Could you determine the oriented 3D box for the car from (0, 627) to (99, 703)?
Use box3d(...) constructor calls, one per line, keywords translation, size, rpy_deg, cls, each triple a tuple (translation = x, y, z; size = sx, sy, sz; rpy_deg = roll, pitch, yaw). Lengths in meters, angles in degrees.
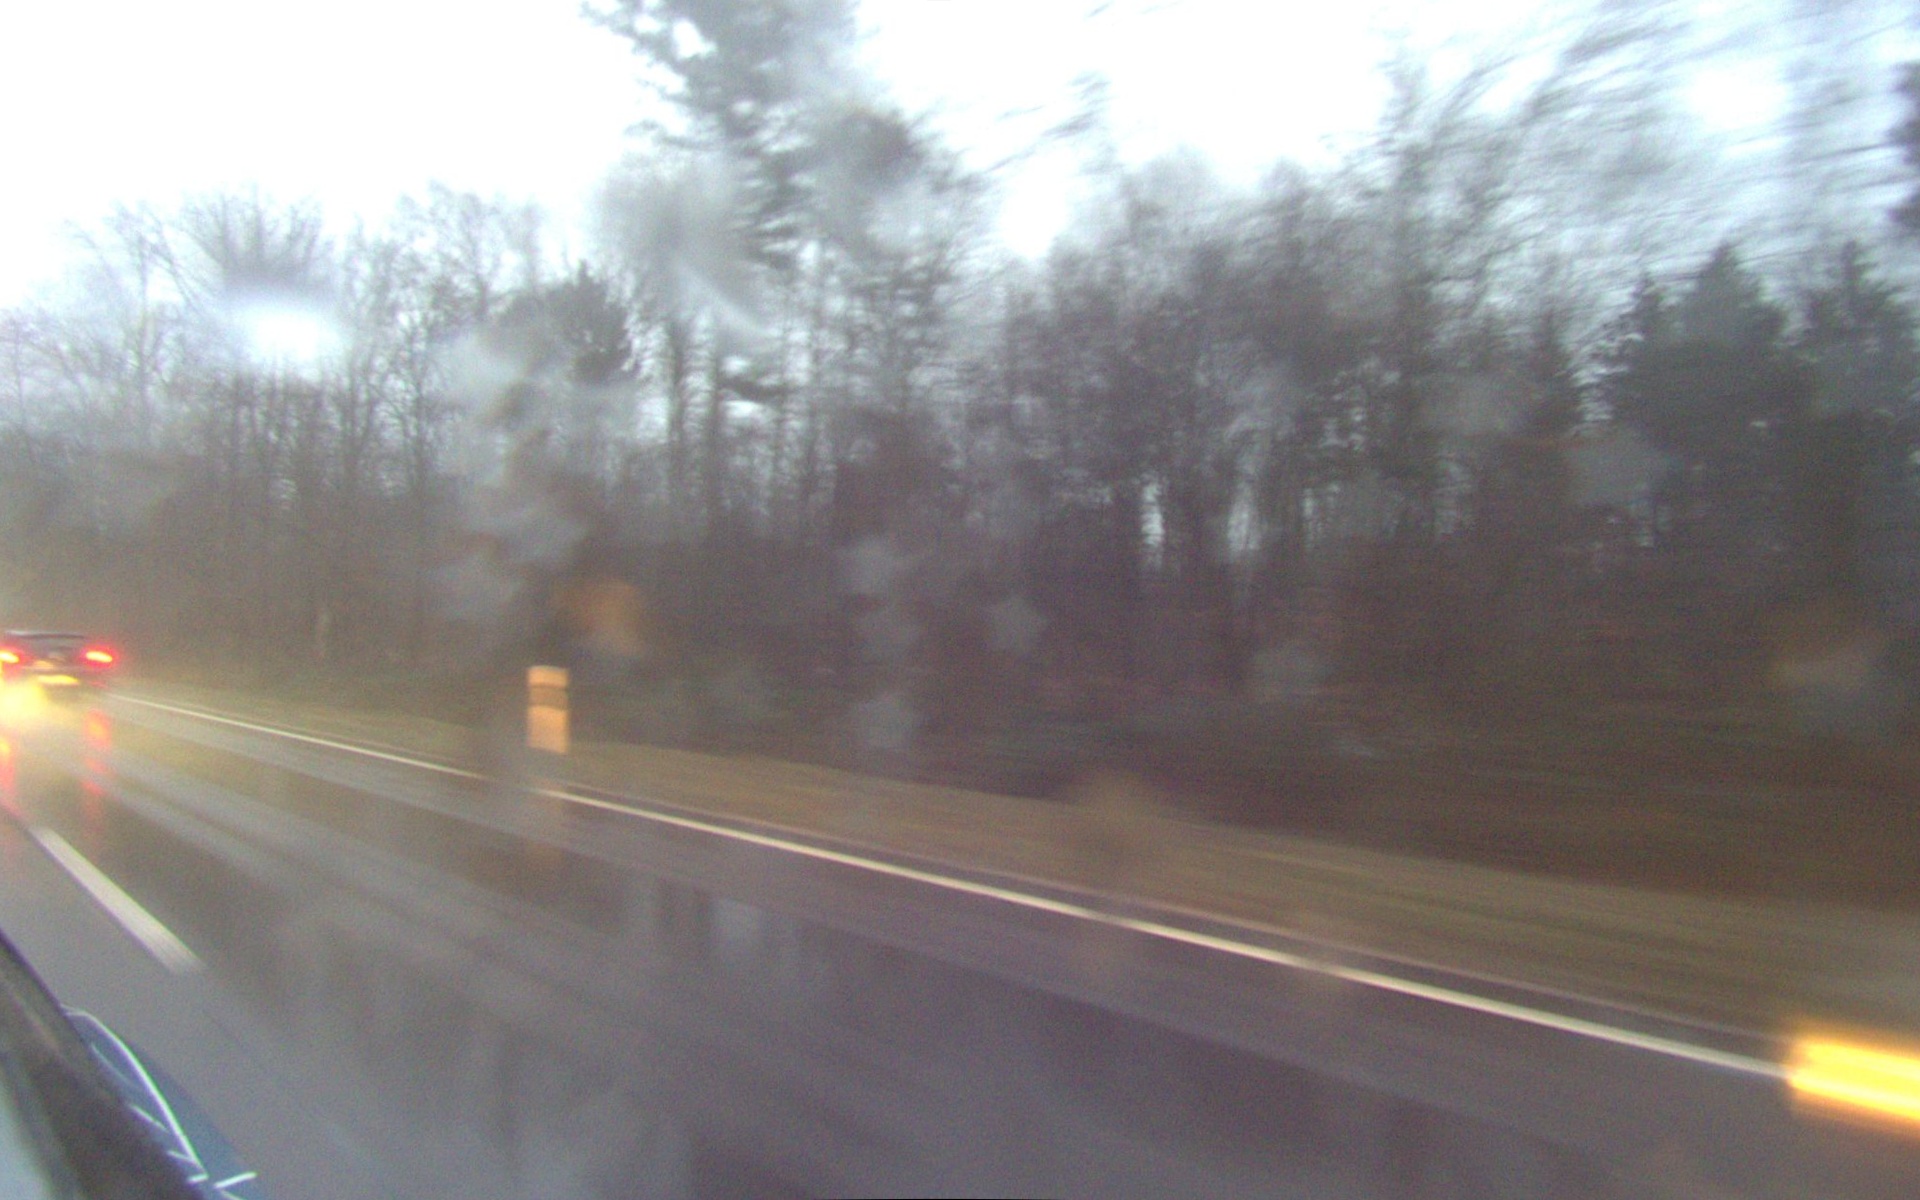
box3d(translation=(-19.000, 1.296, 20.768), size=(3.659, 1.424, 1.497), rpy_deg=(-2, -4, 42), cls="car")
